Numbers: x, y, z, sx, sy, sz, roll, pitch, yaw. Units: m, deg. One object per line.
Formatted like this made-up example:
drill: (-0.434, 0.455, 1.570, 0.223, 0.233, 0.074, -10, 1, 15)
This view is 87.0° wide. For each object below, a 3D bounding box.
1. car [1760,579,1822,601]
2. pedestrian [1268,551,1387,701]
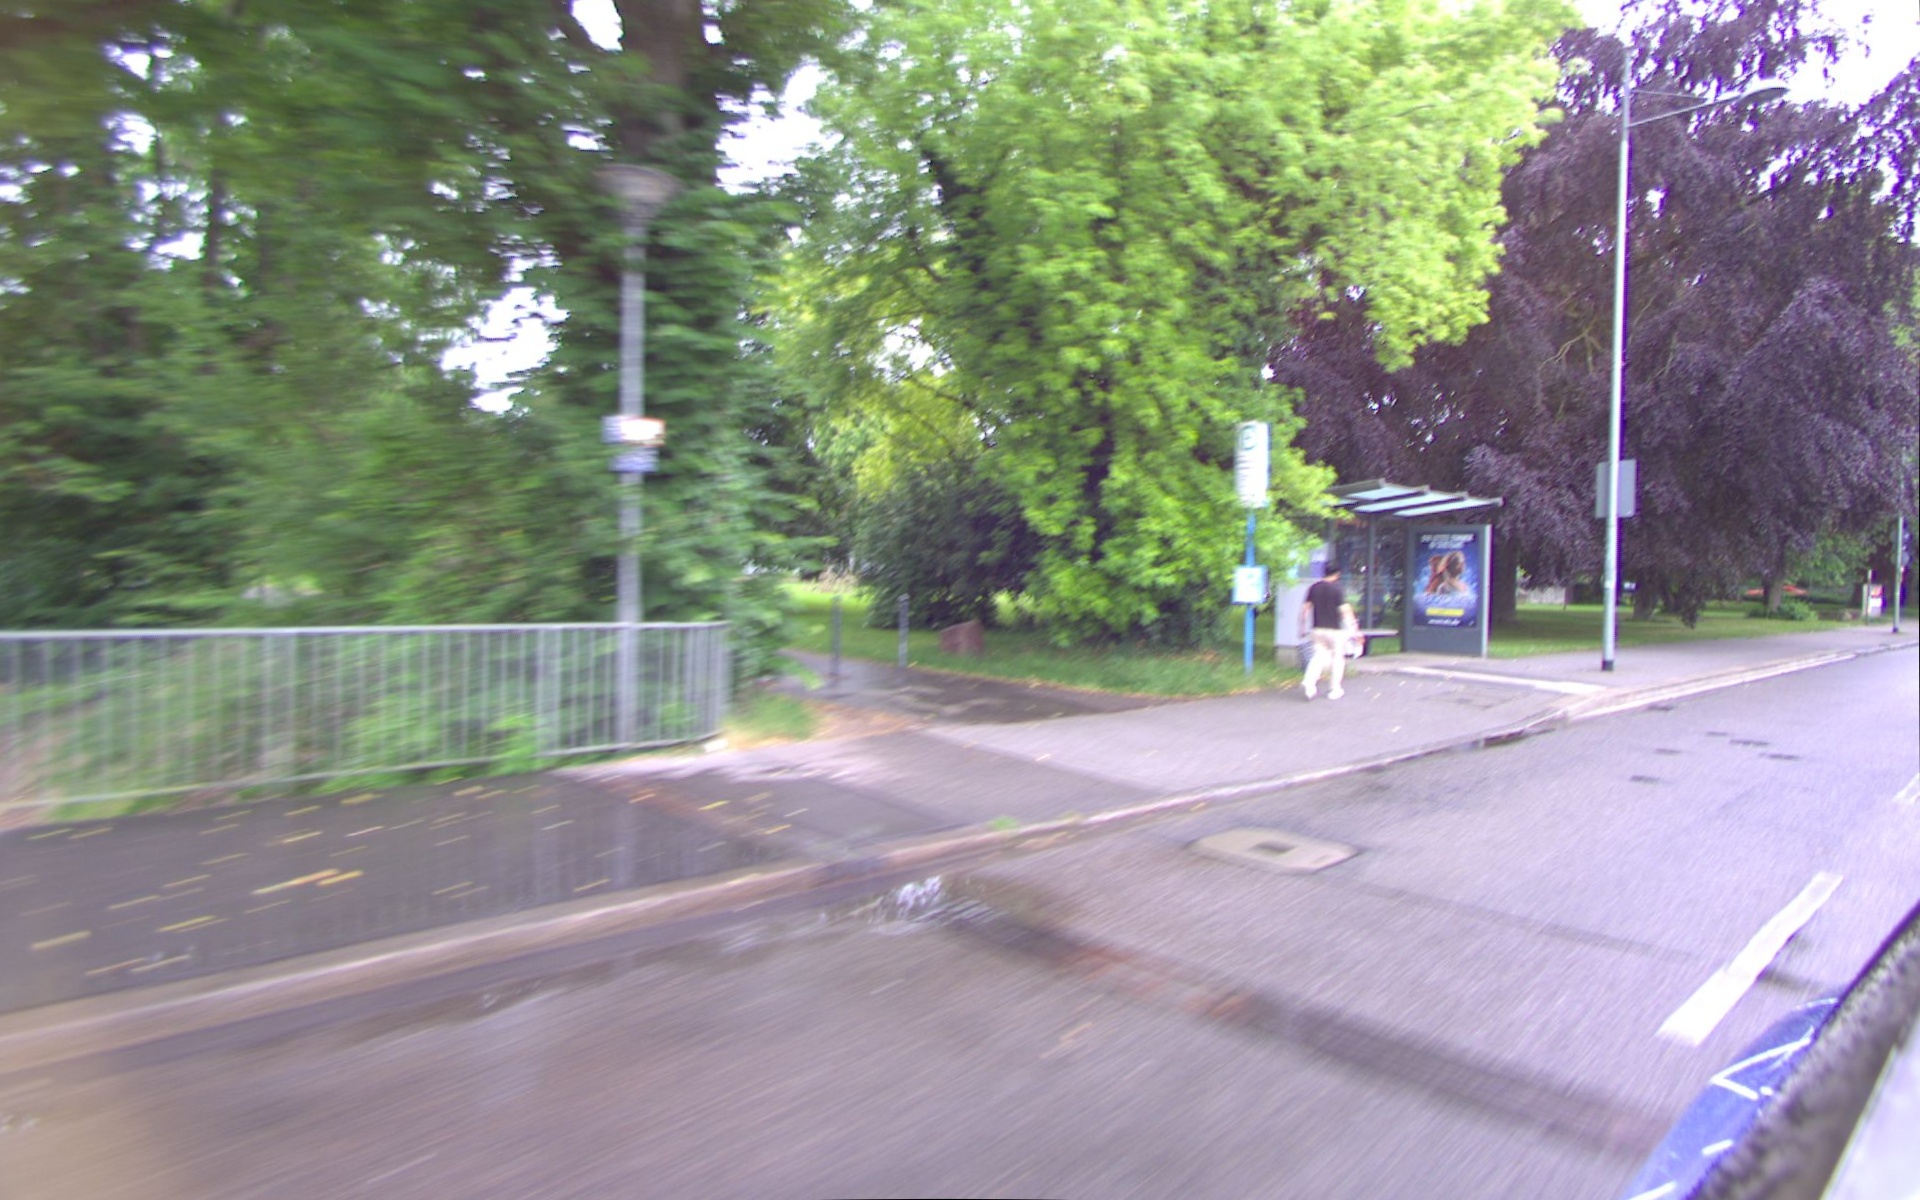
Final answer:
car: (73.994, -0.898, 90.112, 1.966, 1.737, 3.992, 0, 3, -43)
pedestrian: (4.499, 0.280, 12.374, 1.147, 1.696, 0.849, -1, 4, -41)
